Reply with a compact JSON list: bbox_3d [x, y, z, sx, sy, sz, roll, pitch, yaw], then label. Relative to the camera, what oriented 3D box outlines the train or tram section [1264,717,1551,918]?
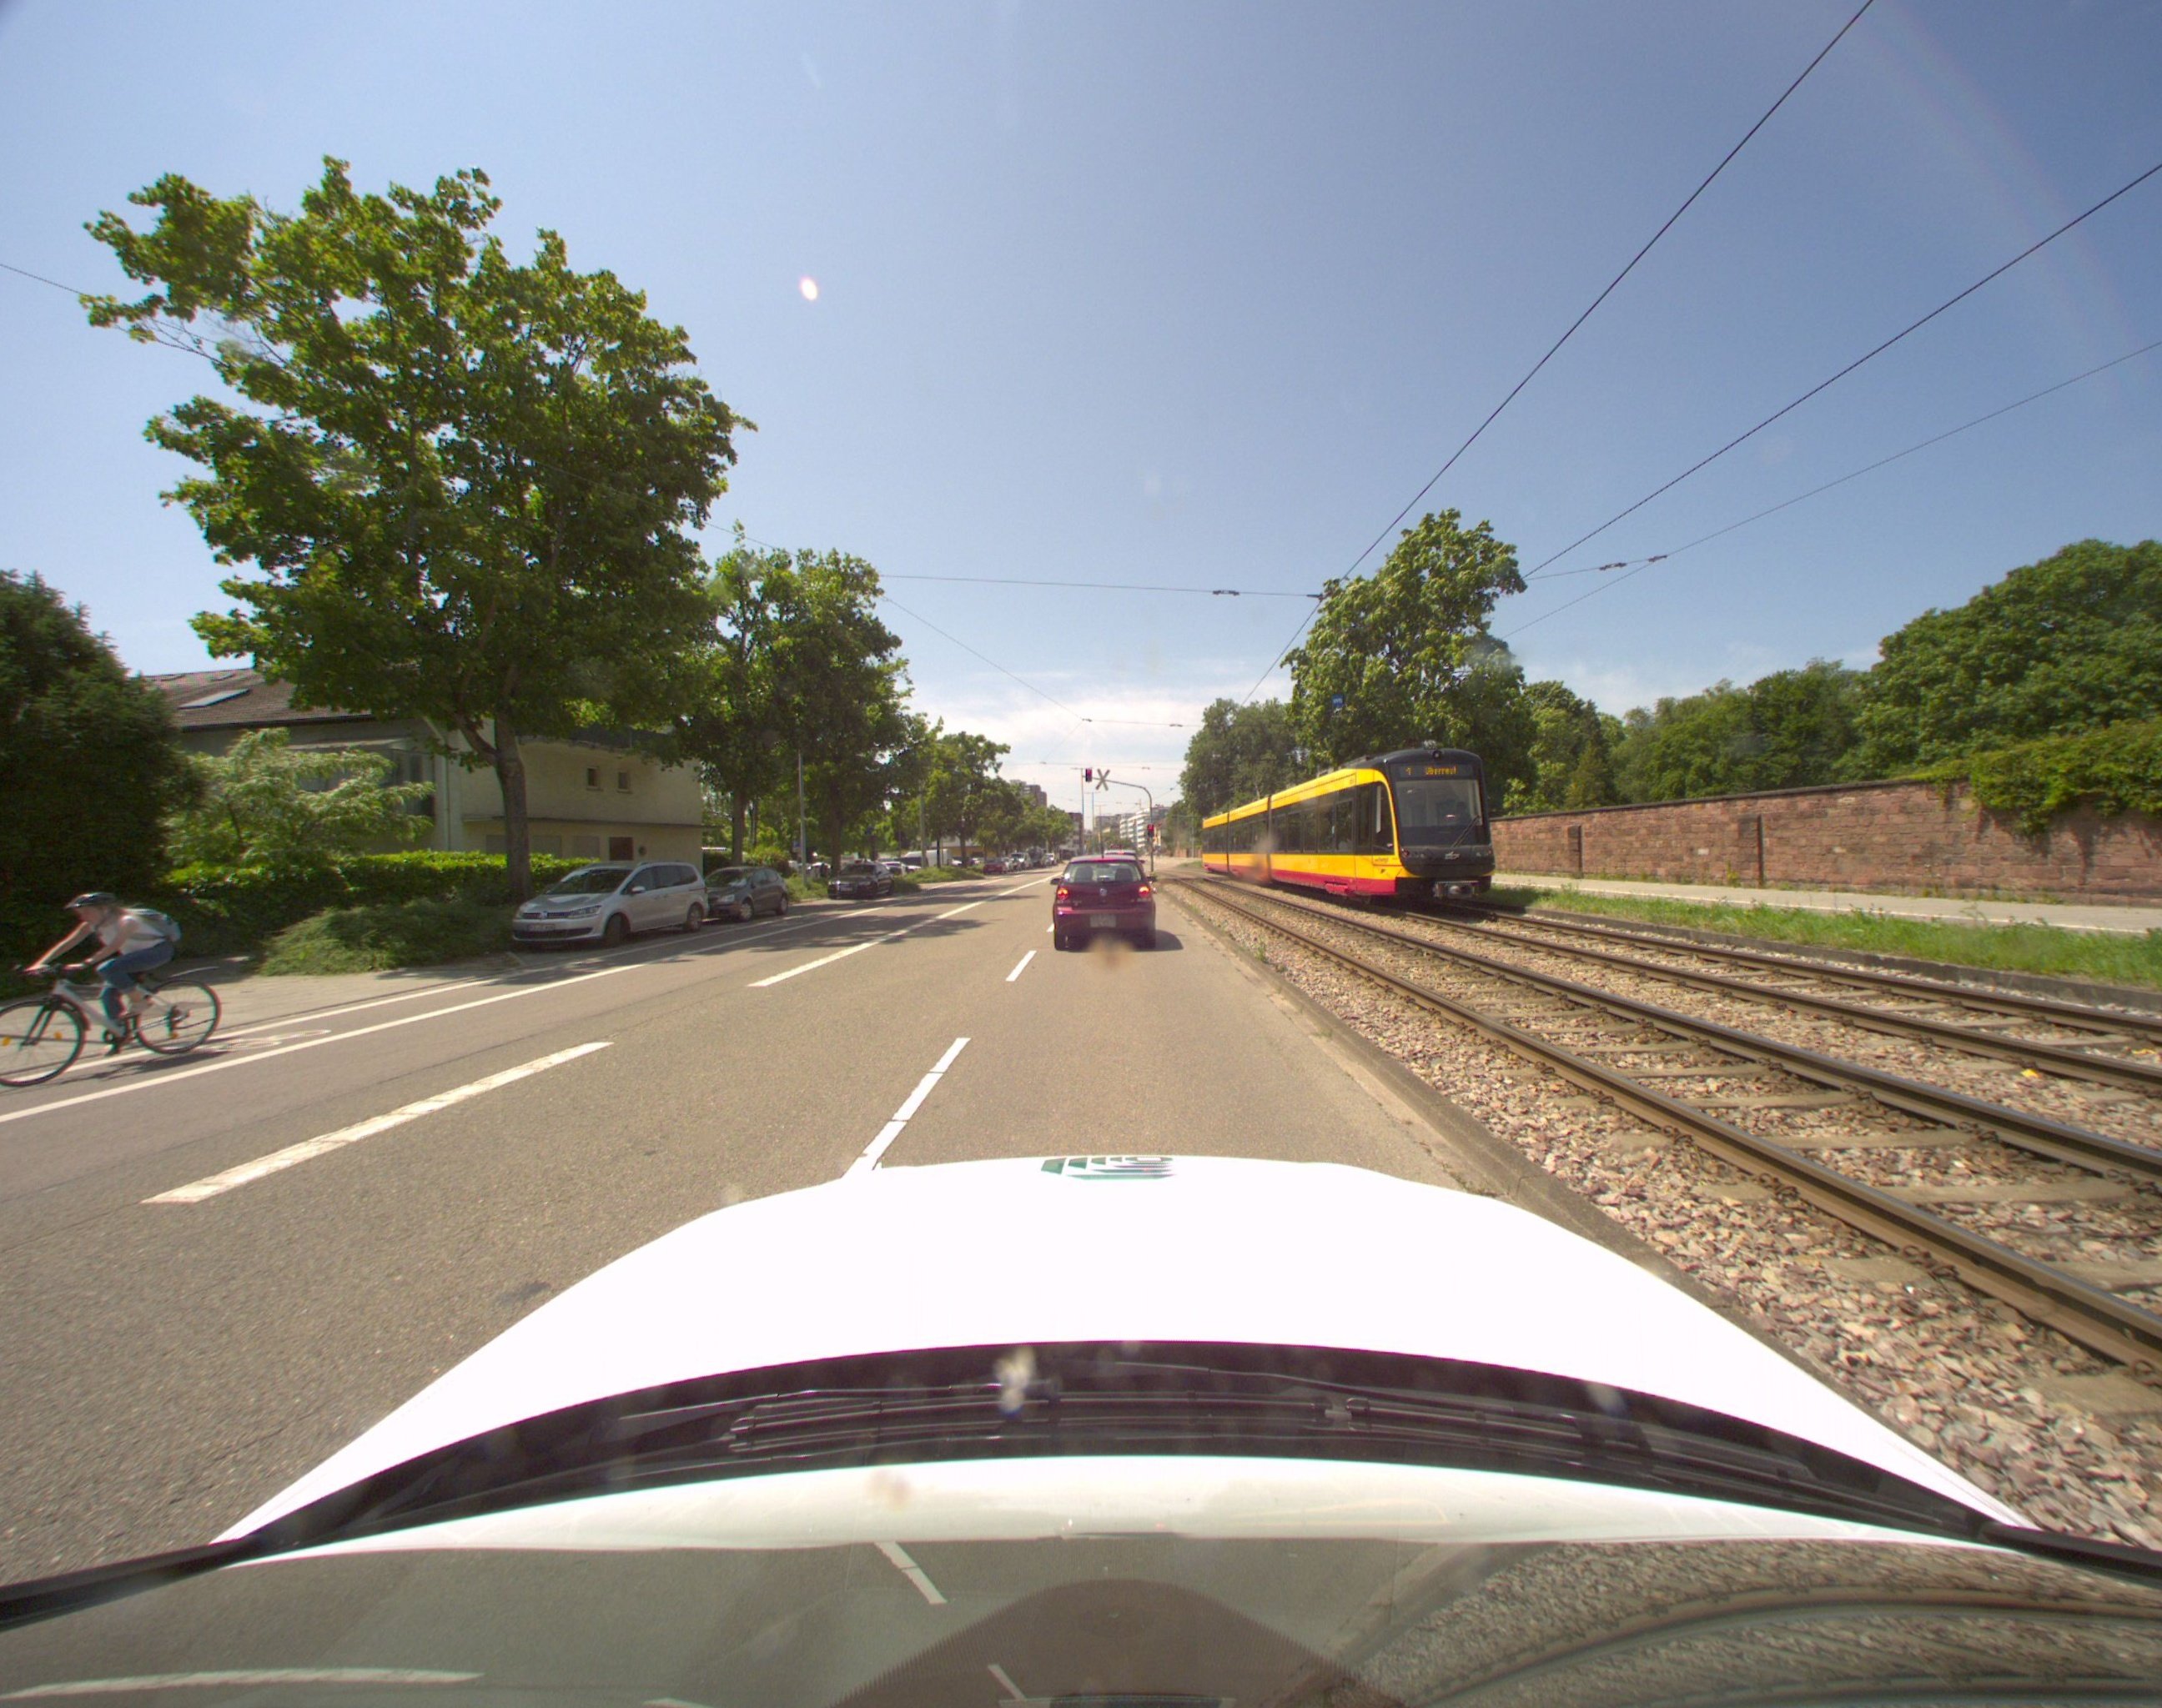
[{"bbox_3d":[7.788,-0.730,22.312,3.016,3.798,13.097,-2,0,2],"label":"train or tram section"}]

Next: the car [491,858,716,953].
[{"bbox_3d":[-9.930,0.973,17.495,1.866,1.664,4.783,-1,0,2],"label":"car"}]

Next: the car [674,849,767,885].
[{"bbox_3d":[-30.655,1.075,69.380,6.828,2.965,2.364,0,-1,0],"label":"car"}]

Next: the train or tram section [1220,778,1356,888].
[{"bbox_3d":[8.456,-0.767,35.403,3.016,3.798,13.097,-2,0,2],"label":"train or tram section"}]

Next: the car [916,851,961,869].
[{"bbox_3d":[-17.558,0.774,100.547,5.076,2.244,2.380,0,-1,3],"label":"car"}]

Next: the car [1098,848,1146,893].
[{"bbox_3d":[1.550,0.613,32.192,1.770,1.647,4.001,0,0,1],"label":"car"}]

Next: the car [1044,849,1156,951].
[{"bbox_3d":[0.328,0.678,14.156,1.666,1.521,4.001,0,0,1],"label":"car"}]

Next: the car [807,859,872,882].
[{"bbox_3d":[-18.588,1.272,62.795,4.329,1.585,1.912,-2,0,0],"label":"car"}]

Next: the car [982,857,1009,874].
[{"bbox_3d":[-7.532,1.035,72.238,1.655,1.497,4.004,0,-1,4],"label":"car"}]

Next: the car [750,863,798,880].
[{"bbox_3d":[-29.873,1.682,79.325,3.982,1.653,1.812,0,-1,-6],"label":"car"}]

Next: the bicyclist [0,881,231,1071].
[{"bbox_3d":[-8.419,1.000,7.096,0.733,1.431,1.124,-5,0,-1],"label":"bicyclist"}]

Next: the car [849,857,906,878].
[{"bbox_3d":[-17.621,1.167,70.585,4.318,1.585,1.917,-2,0,8],"label":"car"}]

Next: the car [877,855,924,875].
[{"bbox_3d":[-17.358,1.088,78.618,3.973,1.746,1.999,-2,0,1],"label":"car"}]

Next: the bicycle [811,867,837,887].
[{"bbox_3d":[-13.928,1.244,44.212,0.697,1.030,1.832,0,-1,5],"label":"bicycle"}]

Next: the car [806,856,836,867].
[{"bbox_3d":[-39.906,1.195,125.095,4.003,1.617,1.818,0,-1,3],"label":"car"}]

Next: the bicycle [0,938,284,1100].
[{"bbox_3d":[-8.411,1.359,7.079,0.699,0.951,2.242,-4,1,-1],"label":"bicycle"}]

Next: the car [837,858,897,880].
[{"bbox_3d":[-17.832,1.254,67.875,4.319,1.585,1.917,-2,0,7],"label":"car"}]

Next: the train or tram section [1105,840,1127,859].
[{"bbox_3d":[6.750,-0.904,159.139,2.736,3.609,12.848,0,0,-5],"label":"train or tram section"}]

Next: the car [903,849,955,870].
[{"bbox_3d":[-16.624,0.597,89.249,5.076,2.244,2.380,0,-1,3],"label":"car"}]

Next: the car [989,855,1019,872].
[{"bbox_3d":[-7.400,0.907,78.790,1.965,1.601,4.566,0,-1,7],"label":"car"}]

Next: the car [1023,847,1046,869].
[{"bbox_3d":[-5.790,0.465,102.052,2.352,2.692,5.311,0,-1,3],"label":"car"}]

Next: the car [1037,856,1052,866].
[{"bbox_3d":[-5.299,1.064,119.589,1.606,1.441,4.006,0,-1,6],"label":"car"}]

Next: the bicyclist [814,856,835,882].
[{"bbox_3d":[-13.913,0.817,44.160,0.805,1.374,0.829,0,-1,5],"label":"bicyclist"}]

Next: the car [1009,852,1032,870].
[{"bbox_3d":[-6.590,0.793,89.017,1.774,1.881,4.792,0,-1,5],"label":"car"}]

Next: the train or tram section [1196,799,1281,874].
[{"bbox_3d":[9.022,-0.916,48.381,3.016,3.798,12.768,-2,0,2],"label":"train or tram section"}]

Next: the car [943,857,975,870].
[{"bbox_3d":[-16.464,1.286,109.859,4.003,1.617,1.818,0,-1,3],"label":"car"}]

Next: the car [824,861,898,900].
[{"bbox_3d":[-9.207,1.079,34.499,1.812,1.476,4.451,0,0,2],"label":"car"}]

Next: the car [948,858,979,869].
[{"bbox_3d":[-16.289,1.323,112.937,4.003,1.617,1.818,0,-1,3],"label":"car"}]

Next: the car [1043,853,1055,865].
[{"bbox_3d":[-4.885,0.821,125.328,1.771,1.828,3.995,0,-1,-3],"label":"car"}]

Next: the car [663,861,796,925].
[{"bbox_3d":[-9.674,1.011,22.808,1.812,1.564,4.183,0,0,2],"label":"car"}]
